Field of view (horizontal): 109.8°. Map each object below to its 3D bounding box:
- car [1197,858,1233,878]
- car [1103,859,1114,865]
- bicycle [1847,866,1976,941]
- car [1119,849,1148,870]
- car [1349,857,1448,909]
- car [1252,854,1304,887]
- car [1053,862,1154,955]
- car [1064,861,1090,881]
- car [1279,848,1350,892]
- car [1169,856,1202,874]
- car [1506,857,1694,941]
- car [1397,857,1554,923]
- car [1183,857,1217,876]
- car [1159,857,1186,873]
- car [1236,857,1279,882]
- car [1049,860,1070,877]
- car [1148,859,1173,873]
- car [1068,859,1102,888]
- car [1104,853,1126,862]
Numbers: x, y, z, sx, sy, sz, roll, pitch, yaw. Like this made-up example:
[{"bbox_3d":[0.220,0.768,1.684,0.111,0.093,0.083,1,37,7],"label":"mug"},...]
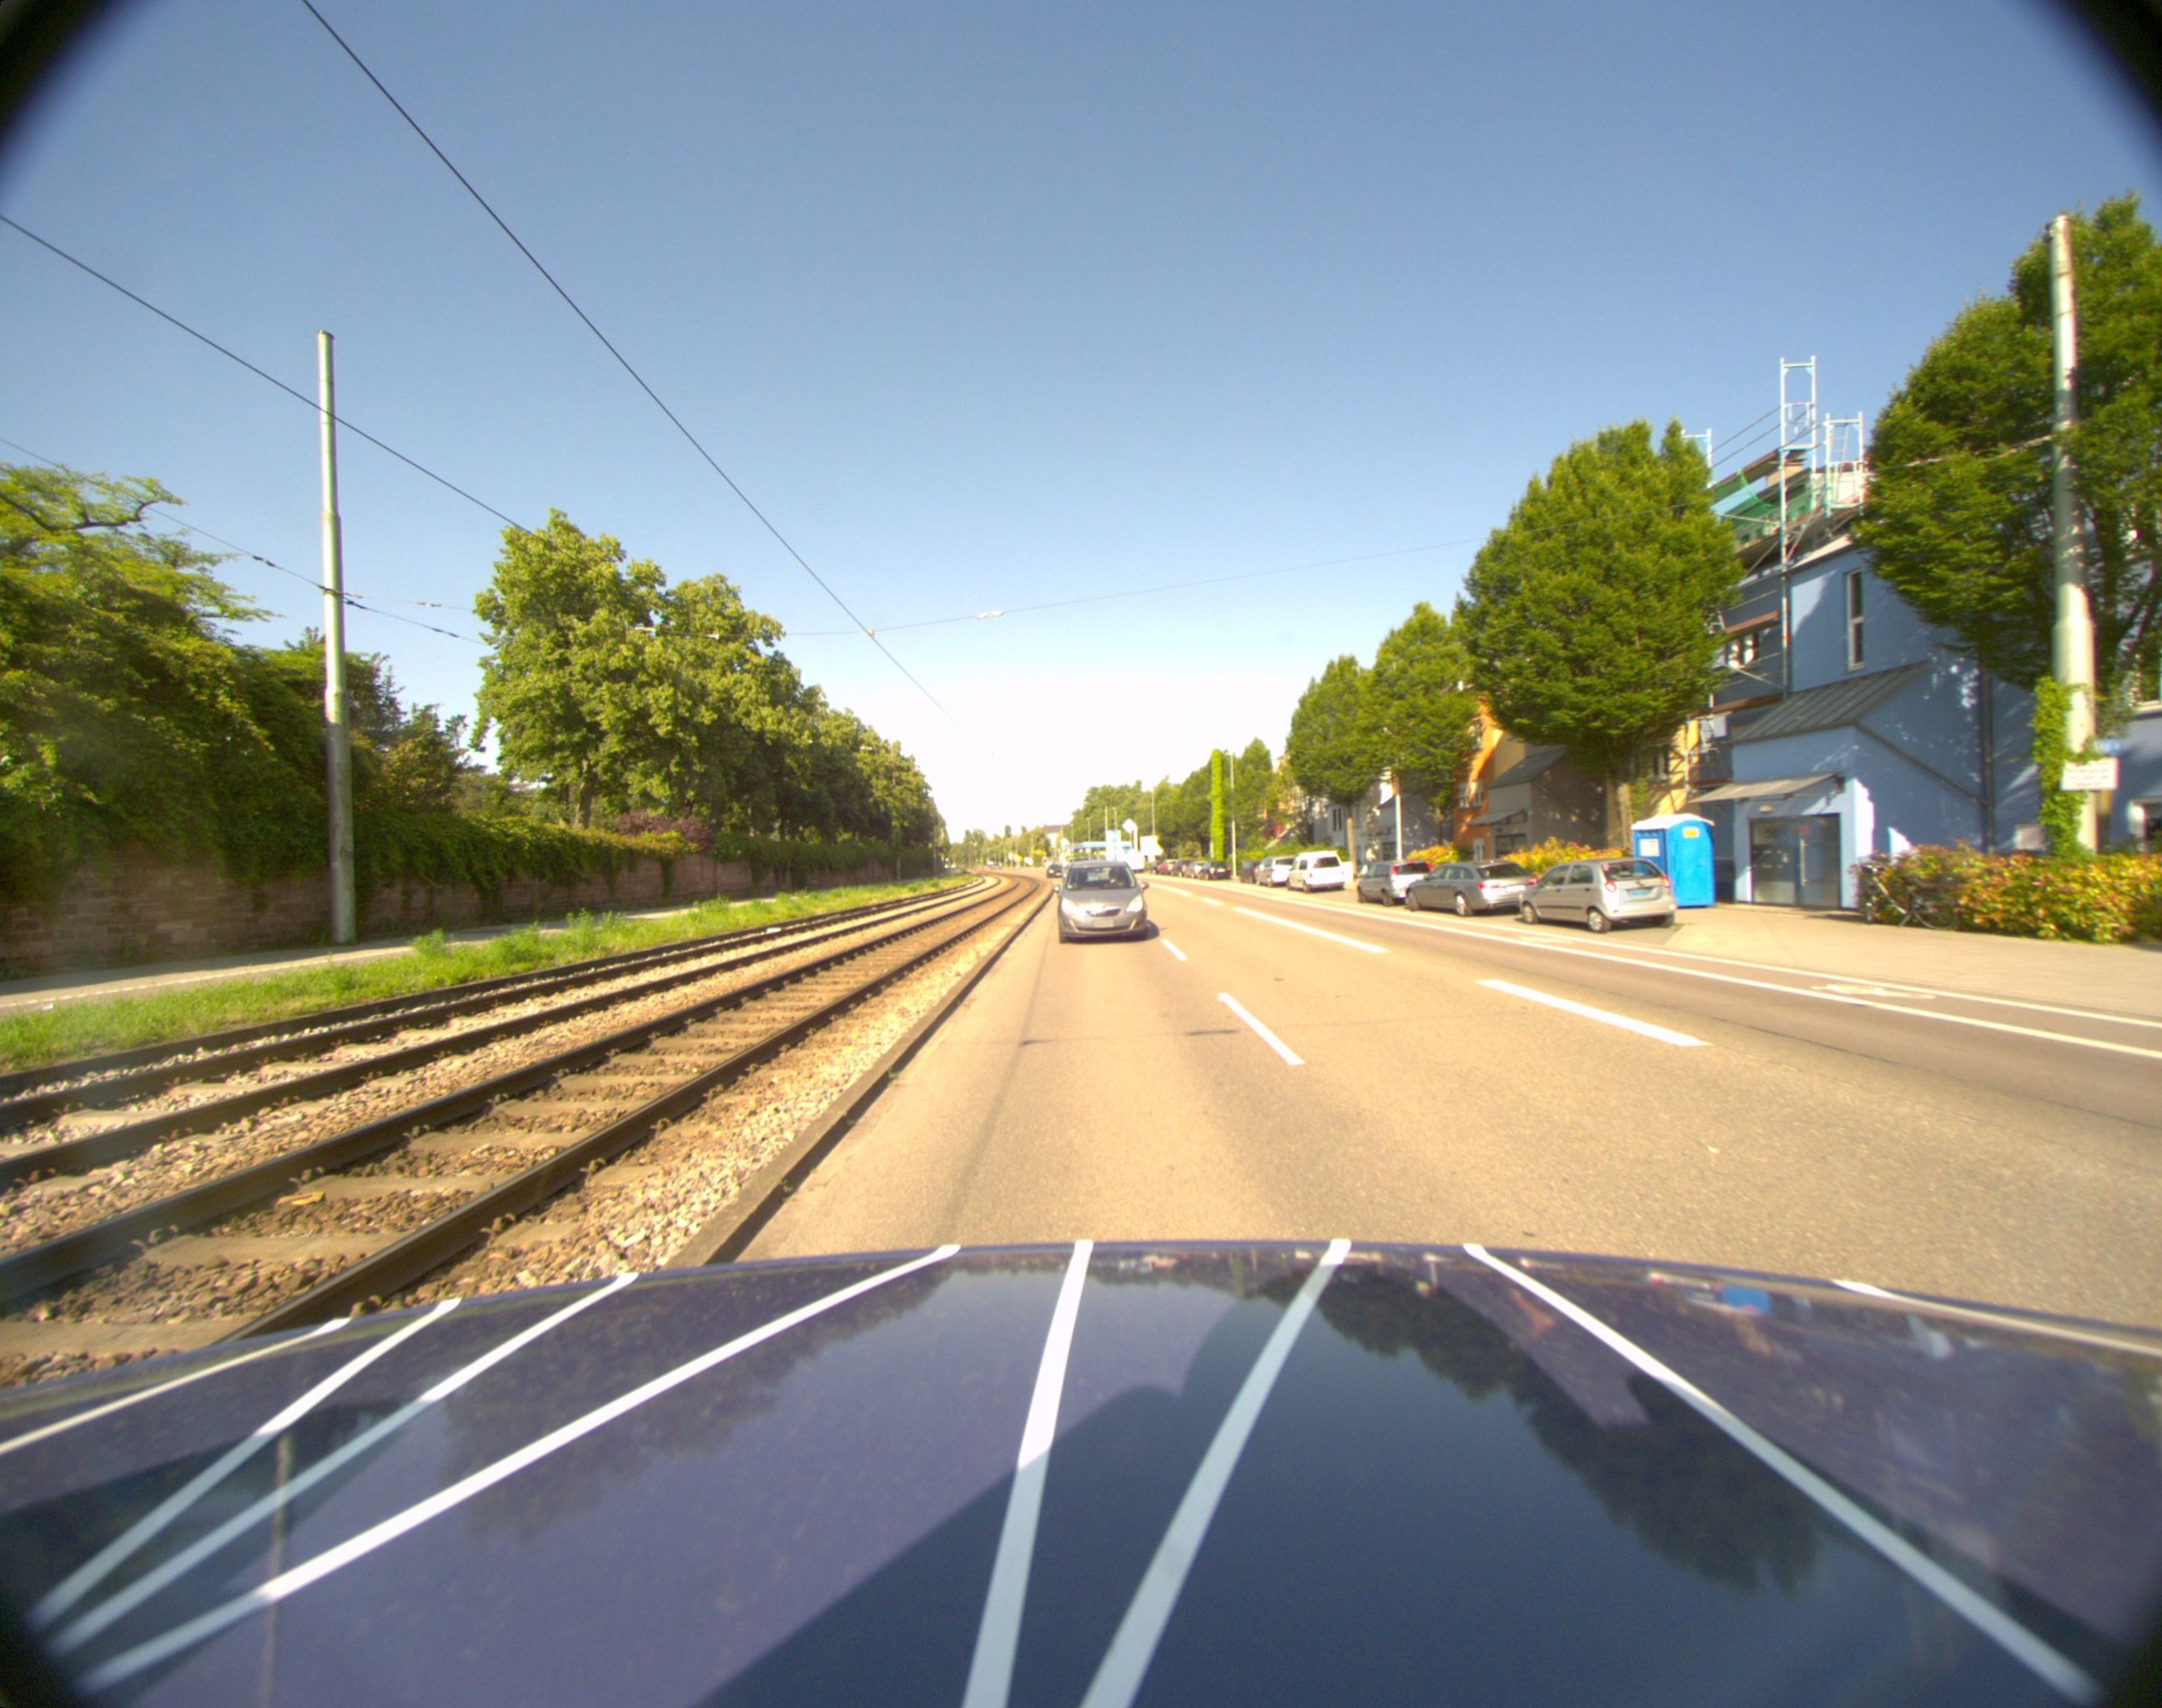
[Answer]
[{"bbox_3d":[10.508,1.072,59.884,1.714,1.463,4.908,-4,0,-2],"label":"car"},{"bbox_3d":[6.113,1.756,167.413,1.742,1.481,4.272,-1,0,-8],"label":"car"},{"bbox_3d":[14.268,0.813,13.120,0.444,1.147,1.785,-1,1,7],"label":"bicycle"},{"bbox_3d":[6.616,0.745,97.128,2.159,2.443,6.179,-4,0,-9],"label":"car"},{"bbox_3d":[11.098,0.964,26.877,1.767,1.530,3.981,-6,0,1],"label":"car"},{"bbox_3d":[11.096,0.891,43.139,1.672,1.691,4.824,-3,0,0],"label":"car"},{"bbox_3d":[0.420,0.994,15.359,1.730,1.573,3.763,-2,0,1],"label":"car"},{"bbox_3d":[-0.331,1.214,56.228,1.579,1.306,3.998,-3,0,-4],"label":"car"},{"bbox_3d":[11.264,0.749,36.977,1.767,1.835,4.579,-6,0,-1],"label":"car"},{"bbox_3d":[9.728,1.026,71.140,1.768,1.564,4.433,-3,0,-10],"label":"car"},{"bbox_3d":[11.165,0.886,16.663,1.605,1.486,3.509,-6,0,0],"label":"car"},{"bbox_3d":[11.030,0.928,21.713,1.753,1.502,4.754,-6,0,-2],"label":"car"},{"bbox_3d":[10.262,1.065,65.801,1.717,1.463,4.842,-3,1,-5],"label":"car"},{"bbox_3d":[9.250,1.093,77.007,1.768,1.565,4.159,-2,0,-6],"label":"car"},{"bbox_3d":[11.206,0.936,48.591,1.620,1.457,4.057,-3,0,-2],"label":"car"},{"bbox_3d":[-2.251,1.434,77.886,1.711,1.581,3.998,-3,0,-6],"label":"car"},{"bbox_3d":[8.626,1.258,82.307,1.657,1.416,4.710,-1,0,-7],"label":"car"},{"bbox_3d":[0.189,1.081,43.987,1.710,1.487,3.999,-3,0,-3],"label":"car"},{"bbox_3d":[8.288,0.836,185.053,5.086,1.929,1.856,-1,0,-5],"label":"car"}]
